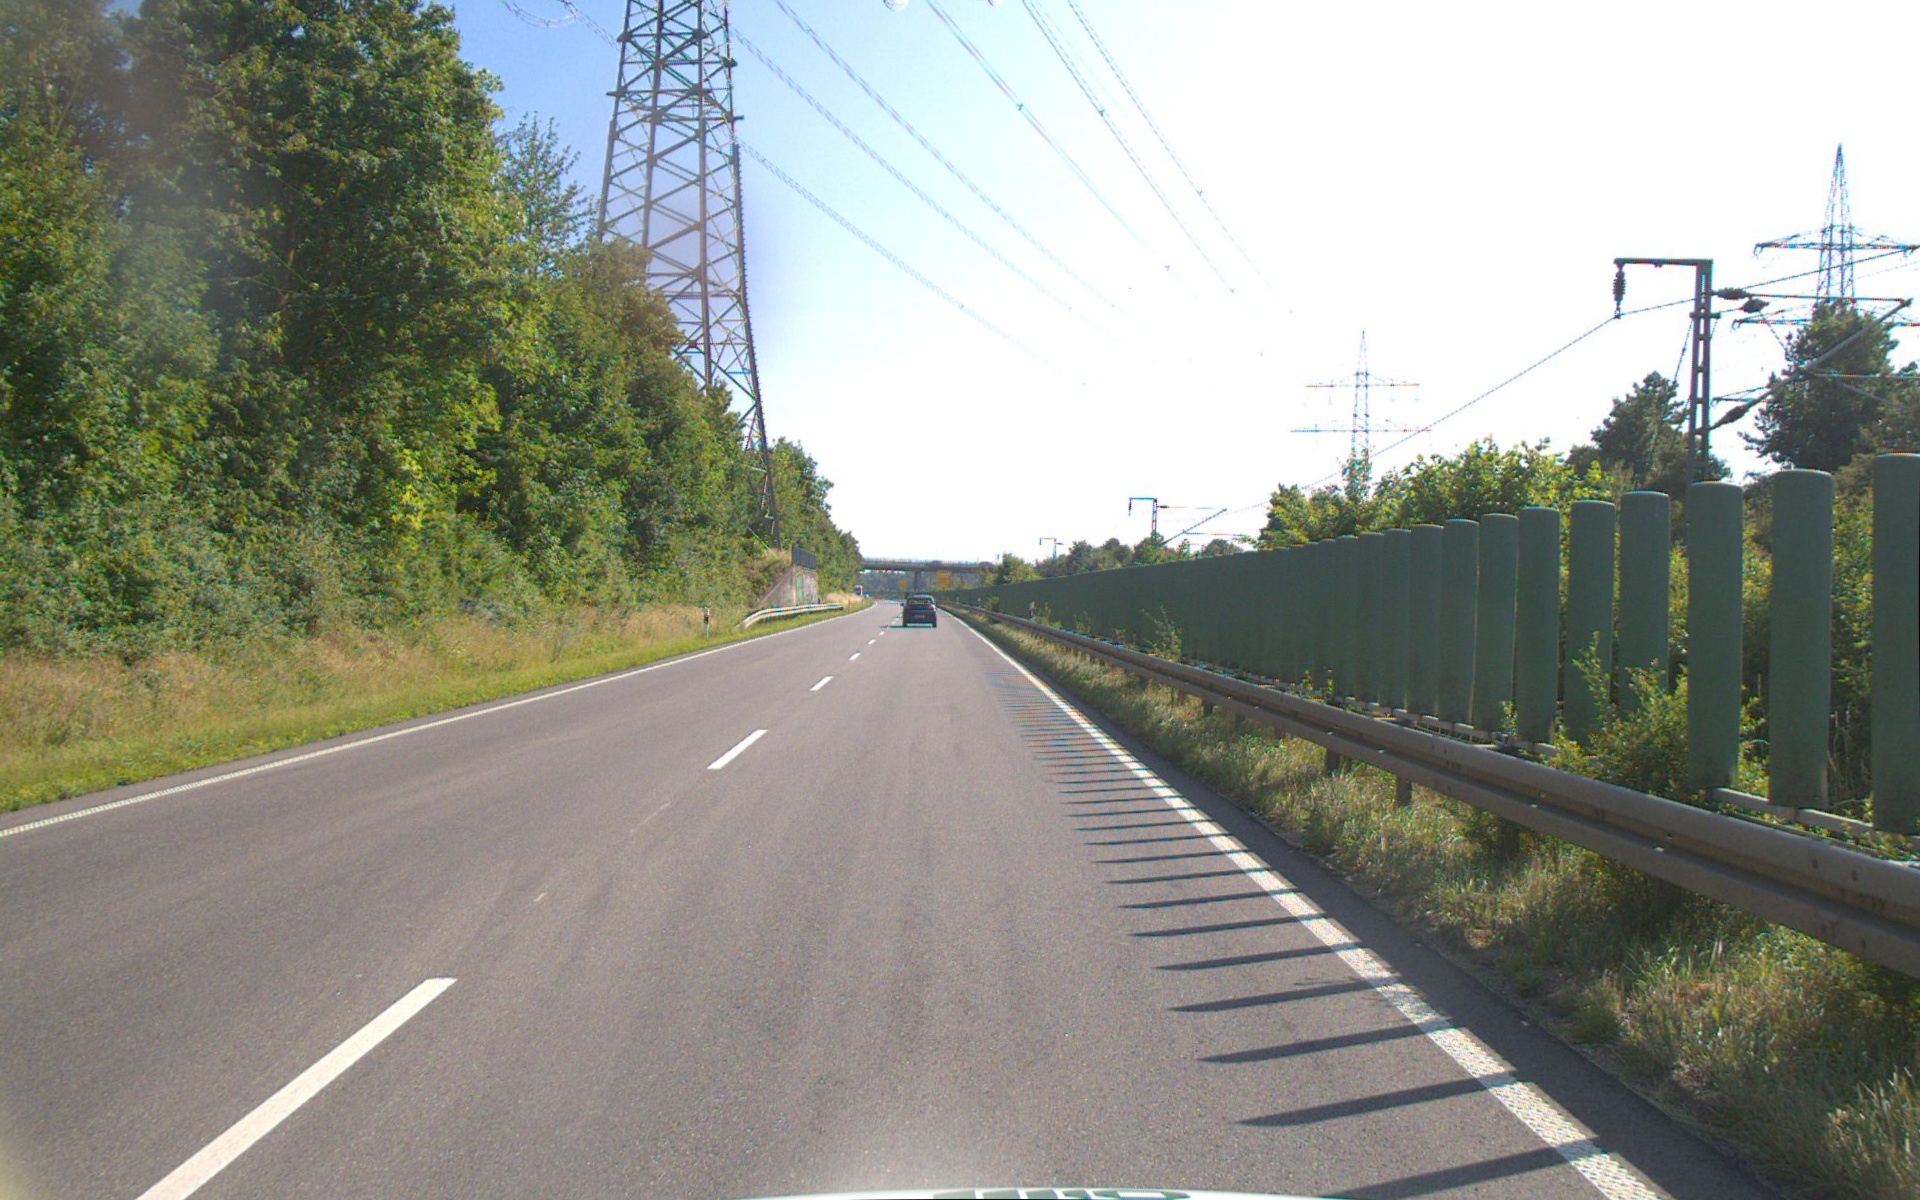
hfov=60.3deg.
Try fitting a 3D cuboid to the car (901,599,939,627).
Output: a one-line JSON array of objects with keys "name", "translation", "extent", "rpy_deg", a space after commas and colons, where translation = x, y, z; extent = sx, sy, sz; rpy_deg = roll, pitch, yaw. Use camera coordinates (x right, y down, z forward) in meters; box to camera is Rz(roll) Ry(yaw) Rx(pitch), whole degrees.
[{"name": "car", "translation": [-1.892, 0.614, 77.902], "extent": [1.630, 1.283, 3.997], "rpy_deg": [1, 0, -4]}]
